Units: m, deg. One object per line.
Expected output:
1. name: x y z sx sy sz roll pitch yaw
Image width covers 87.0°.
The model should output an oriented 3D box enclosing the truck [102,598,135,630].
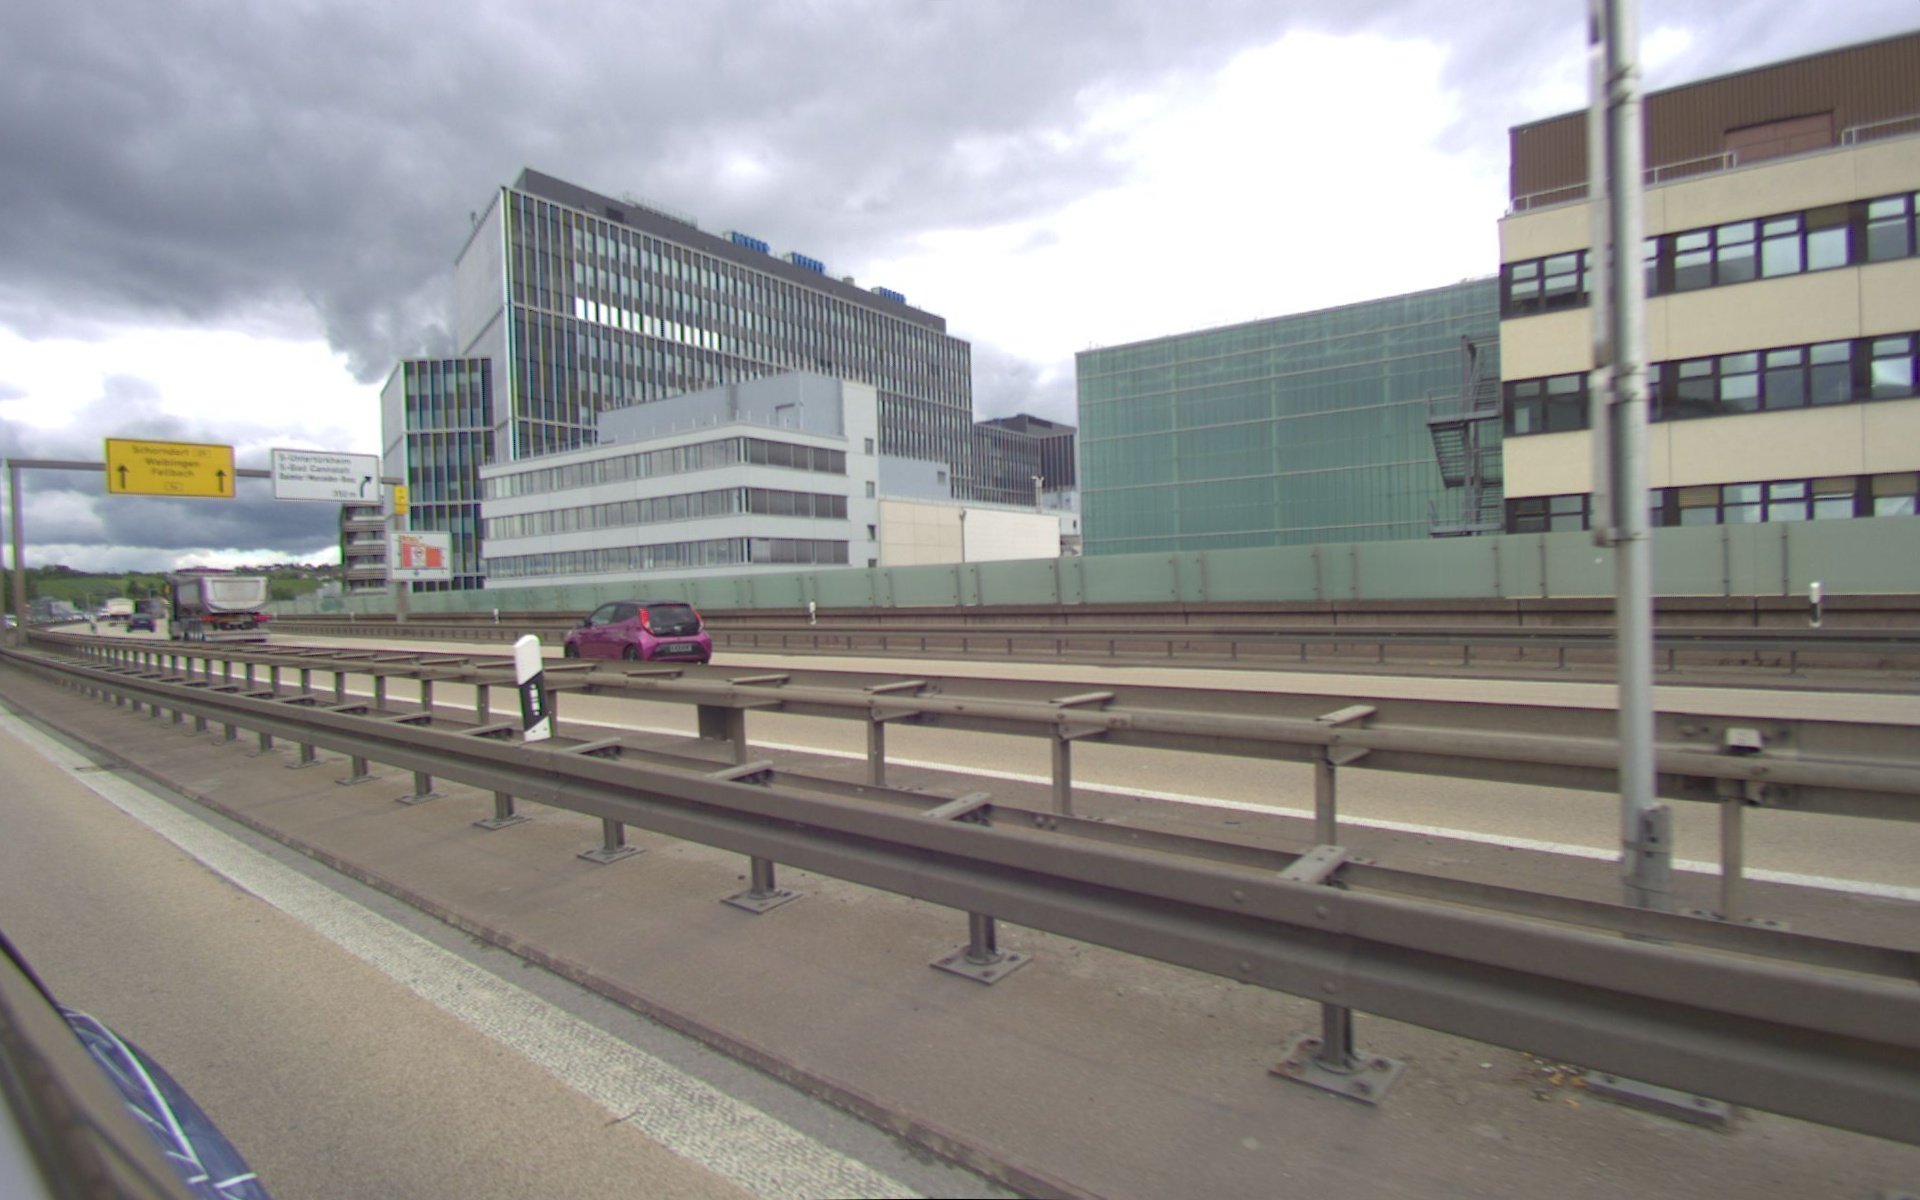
1. truck: -104.448 1.756 125.748 3.018 3.805 12.541 0 0 -39

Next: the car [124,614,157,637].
1. car: -64.121 1.948 79.189 1.968 1.687 4.416 0 0 -39

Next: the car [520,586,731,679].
1. car: -6.864 0.604 20.573 4.402 1.687 1.975 -1 0 38

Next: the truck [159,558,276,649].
1. truck: -35.609 0.202 48.273 2.778 3.838 12.027 0 0 -45

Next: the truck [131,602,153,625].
1. truck: -156.093 2.576 193.248 3.018 4.096 11.880 0 0 -38

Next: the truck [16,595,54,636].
1. truck: -108.117 1.777 118.360 3.019 4.597 12.087 0 0 -41
